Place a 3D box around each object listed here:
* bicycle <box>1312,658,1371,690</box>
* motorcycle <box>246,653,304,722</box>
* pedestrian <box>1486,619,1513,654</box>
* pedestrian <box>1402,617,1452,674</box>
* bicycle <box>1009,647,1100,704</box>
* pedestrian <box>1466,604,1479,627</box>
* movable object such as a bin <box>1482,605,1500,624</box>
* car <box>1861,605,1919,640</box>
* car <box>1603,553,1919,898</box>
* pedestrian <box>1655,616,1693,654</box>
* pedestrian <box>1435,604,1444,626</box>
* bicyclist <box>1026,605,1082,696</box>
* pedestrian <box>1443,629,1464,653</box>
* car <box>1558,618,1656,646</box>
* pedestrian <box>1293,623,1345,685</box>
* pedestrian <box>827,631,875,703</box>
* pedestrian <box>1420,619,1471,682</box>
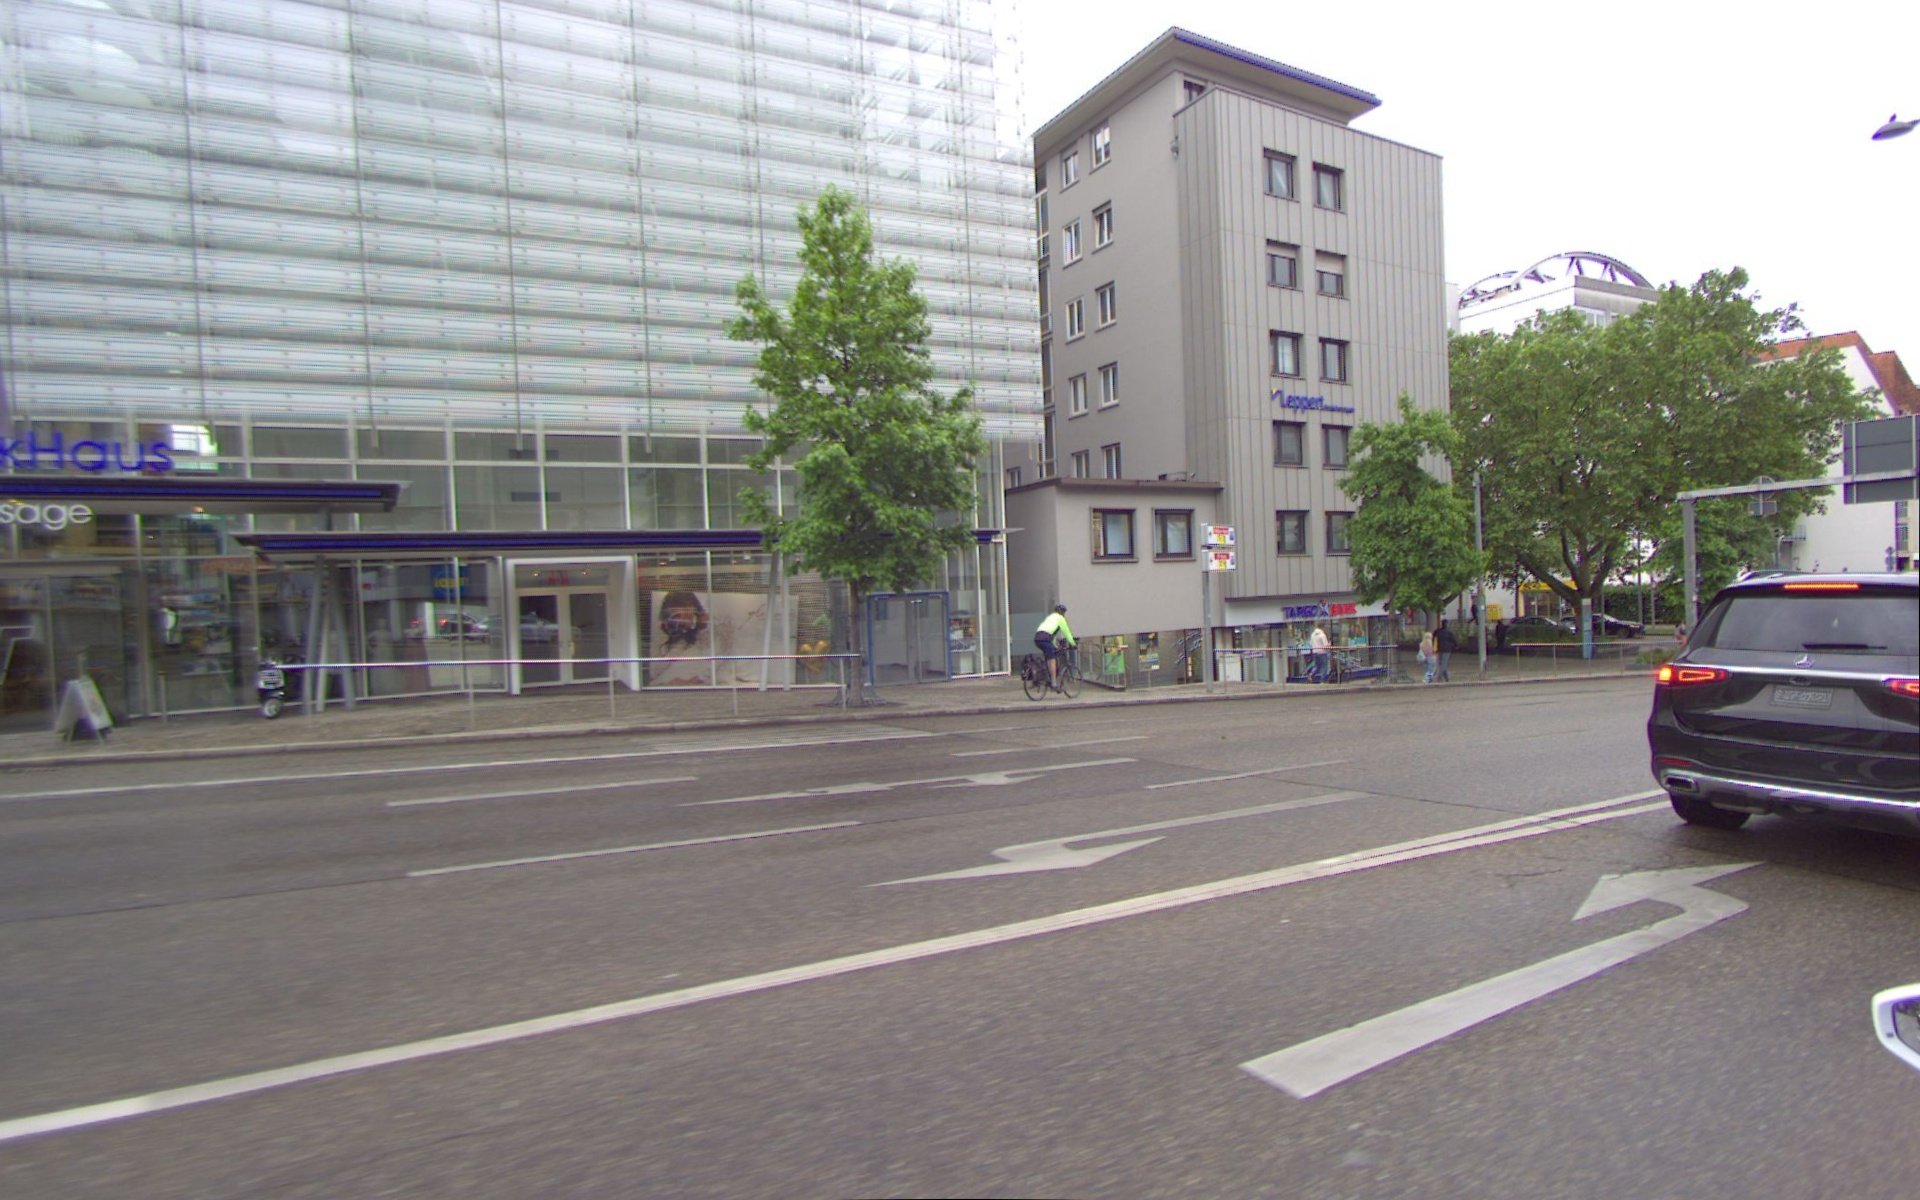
[{"bbox_3d":[14.096,2.707,37.083,2.642,1.101,0.608,1,-1,-34],"label":"bicycle"},{"bbox_3d":[-14.143,1.778,20.777,0.759,1.312,1.542,0,-1,-25],"label":"motorcycle"},{"bbox_3d":[27.531,1.877,51.250,0.937,1.745,0.756,0,-1,-20],"label":"pedestrian"},{"bbox_3d":[14.652,1.407,31.524,1.078,1.745,0.968,0,-2,-33],"label":"pedestrian"},{"bbox_3d":[2.015,1.565,21.166,2.054,1.114,0.673,2,-3,-40],"label":"bicycle"},{"bbox_3d":[40.183,1.234,78.690,0.826,1.802,0.610,0,-2,-41],"label":"pedestrian"},{"bbox_3d":[43.272,1.179,81.862,0.593,1.465,1.107,0,-2,-28],"label":"movable object such as a bin"},{"bbox_3d":[48.620,1.154,50.703,4.631,1.665,1.777,1,0,43],"label":"car"},{"bbox_3d":[6.851,0.674,7.086,4.740,1.841,2.076,0,1,-32],"label":"car"},{"bbox_3d":[33.810,1.672,47.548,0.997,1.745,0.950,-3,-2,-13],"label":"pedestrian"},{"bbox_3d":[38.663,1.221,80.950,0.496,1.732,0.618,-1,-1,15],"label":"pedestrian"},{"bbox_3d":[1.978,1.053,21.153,0.982,1.854,0.663,2,-3,-40],"label":"bicyclist"},{"bbox_3d":[27.007,2.257,54.933,0.935,1.289,0.758,-2,-2,31],"label":"pedestrian"},{"bbox_3d":[38.590,1.876,59.955,1.987,1.612,4.651,1,-1,-45],"label":"car"},{"bbox_3d":[10.261,1.527,28.710,1.028,1.745,0.986,0,-2,-35],"label":"pedestrian"},{"bbox_3d":[-2.335,1.414,21.452,0.833,1.475,0.650,0,-2,-26],"label":"pedestrian"},{"bbox_3d":[13.781,1.417,28.513,1.302,1.735,0.809,0,-2,-40],"label":"pedestrian"}]
